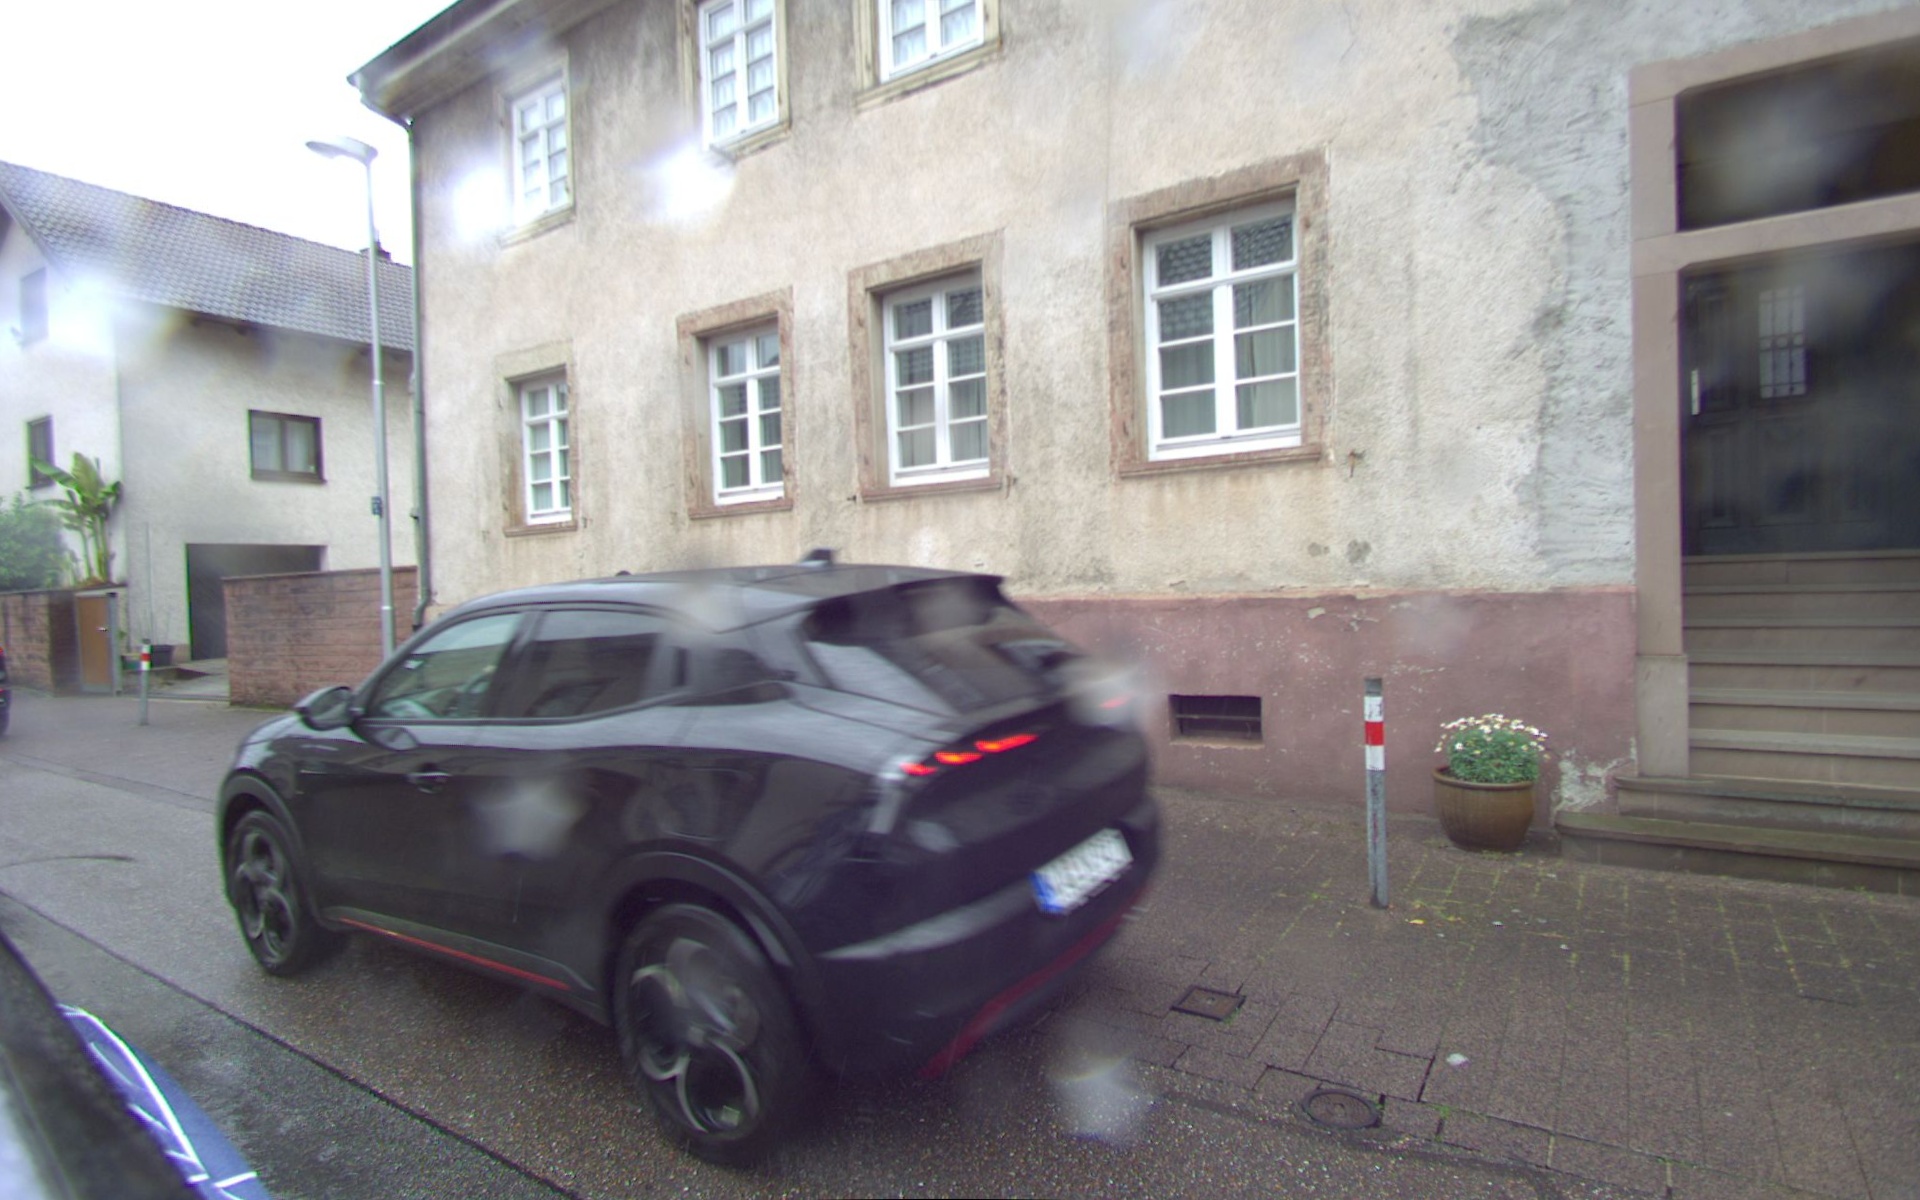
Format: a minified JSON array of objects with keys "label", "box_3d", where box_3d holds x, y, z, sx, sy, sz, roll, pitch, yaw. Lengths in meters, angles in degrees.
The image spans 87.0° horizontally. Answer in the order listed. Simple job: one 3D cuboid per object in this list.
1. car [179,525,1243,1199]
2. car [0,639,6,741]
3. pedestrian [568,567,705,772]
[{"label":"car","box_3d":[-1.108,0.605,3.700,3.783,1.522,1.609,-1,4,35]},{"label":"car","box_3d":[-12.818,0.744,11.500,4.411,1.677,1.767,0,2,32]},{"label":"pedestrian","box_3d":[-2.605,0.531,8.164,0.829,1.549,0.568,-1,2,29]}]
